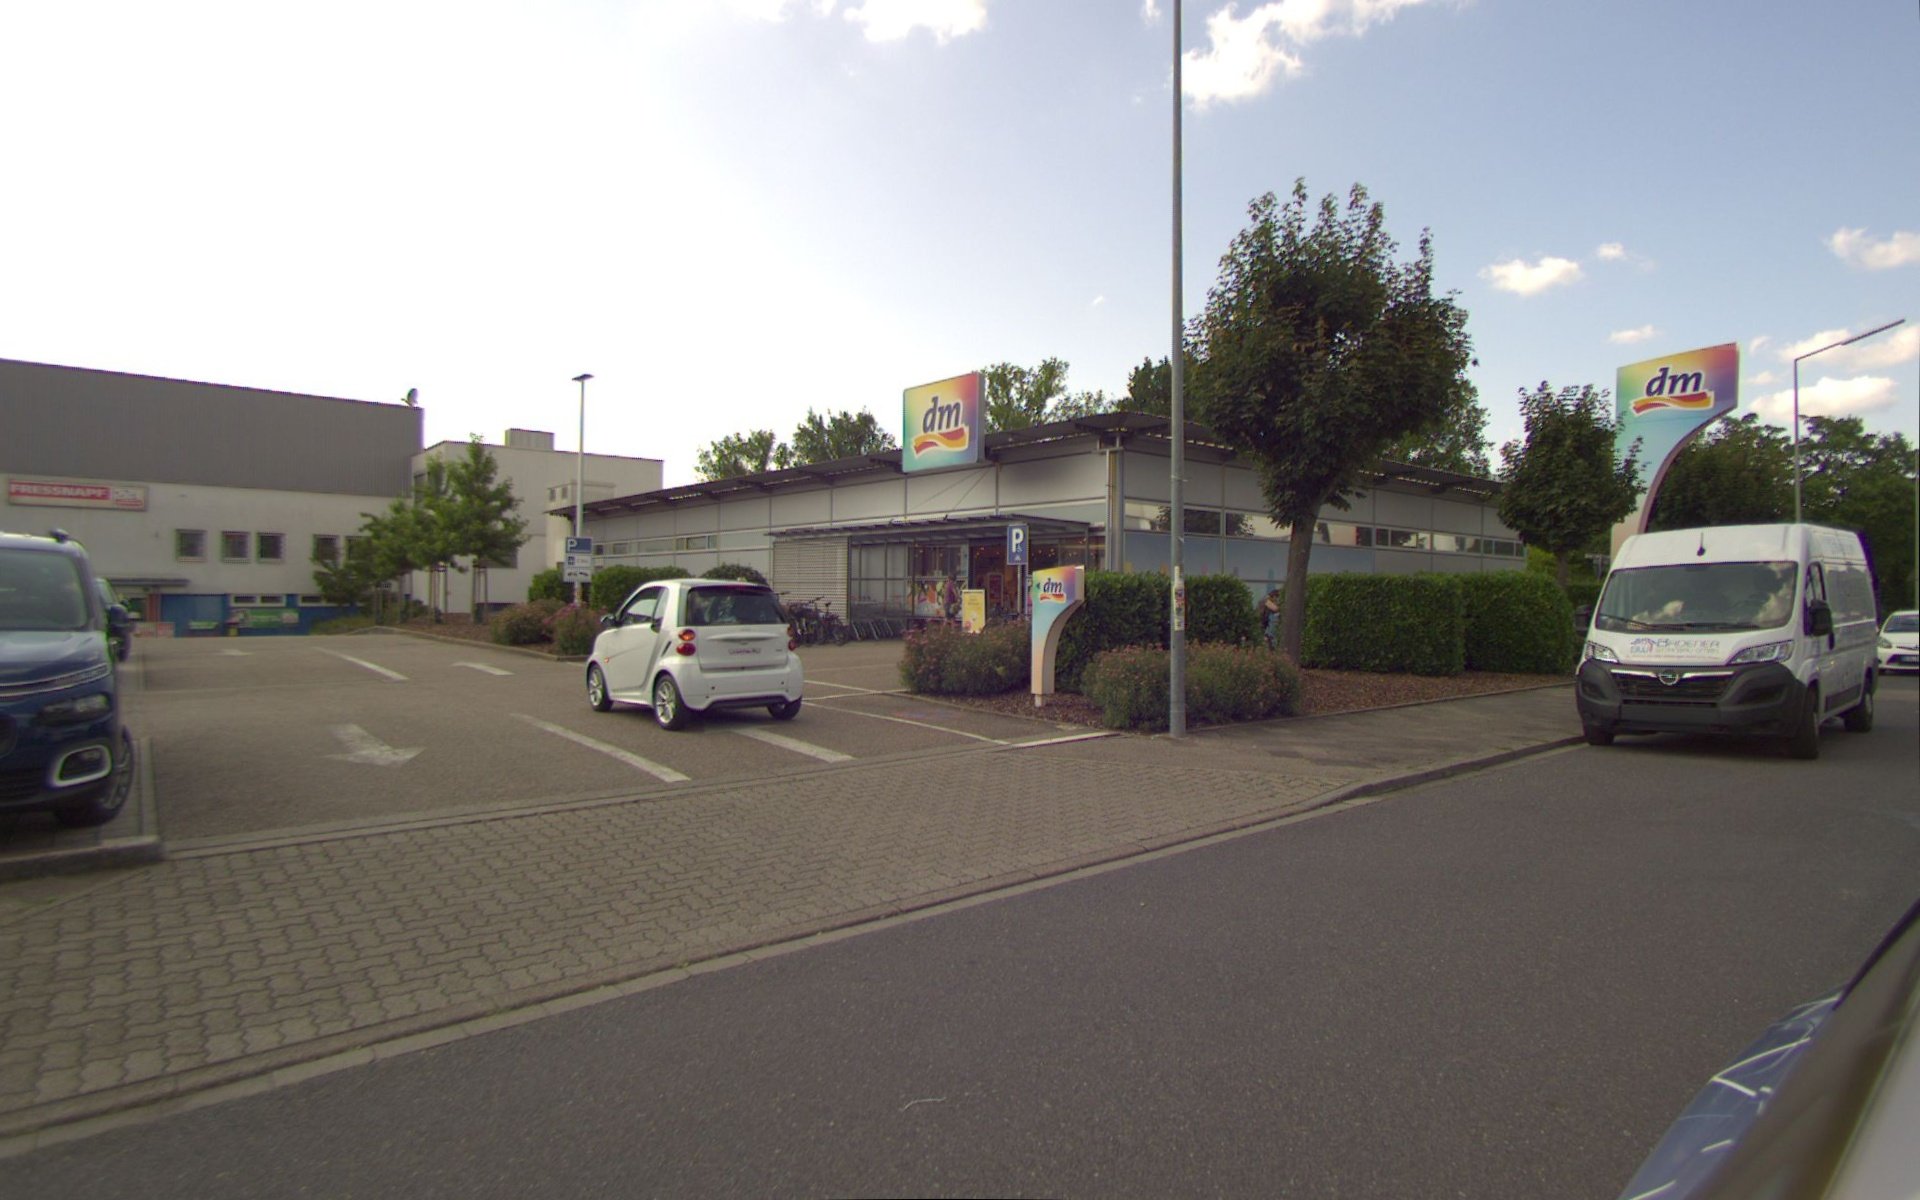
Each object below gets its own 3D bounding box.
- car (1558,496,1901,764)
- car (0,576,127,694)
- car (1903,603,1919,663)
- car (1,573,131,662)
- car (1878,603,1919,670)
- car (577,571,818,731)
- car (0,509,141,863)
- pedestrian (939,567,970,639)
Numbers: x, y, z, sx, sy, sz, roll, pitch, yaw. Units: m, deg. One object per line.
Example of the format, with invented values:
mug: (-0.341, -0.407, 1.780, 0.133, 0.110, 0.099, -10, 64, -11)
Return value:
car: (9.120, 0.303, 11.789, 5.359, 2.440, 2.055, 0, -2, -41)
car: (-13.512, 0.425, 14.949, 1.695, 1.502, 3.941, 0, 1, -42)
car: (25.567, 0.805, 25.882, 3.640, 1.475, 1.697, 0, -2, -41)
car: (-16.993, 0.255, 19.258, 1.695, 1.502, 3.941, 0, 1, -42)
car: (22.452, 0.794, 23.153, 3.487, 1.475, 1.697, 0, -2, -41)
car: (-3.034, 0.485, 11.474, 1.618, 1.563, 2.714, 0, 0, -41)
car: (-6.782, 0.383, 6.809, 1.869, 1.810, 4.903, 0, 1, -40)
pedestrian: (-0.134, 0.068, 24.487, 0.536, 1.722, 0.528, 1, 0, -40)
